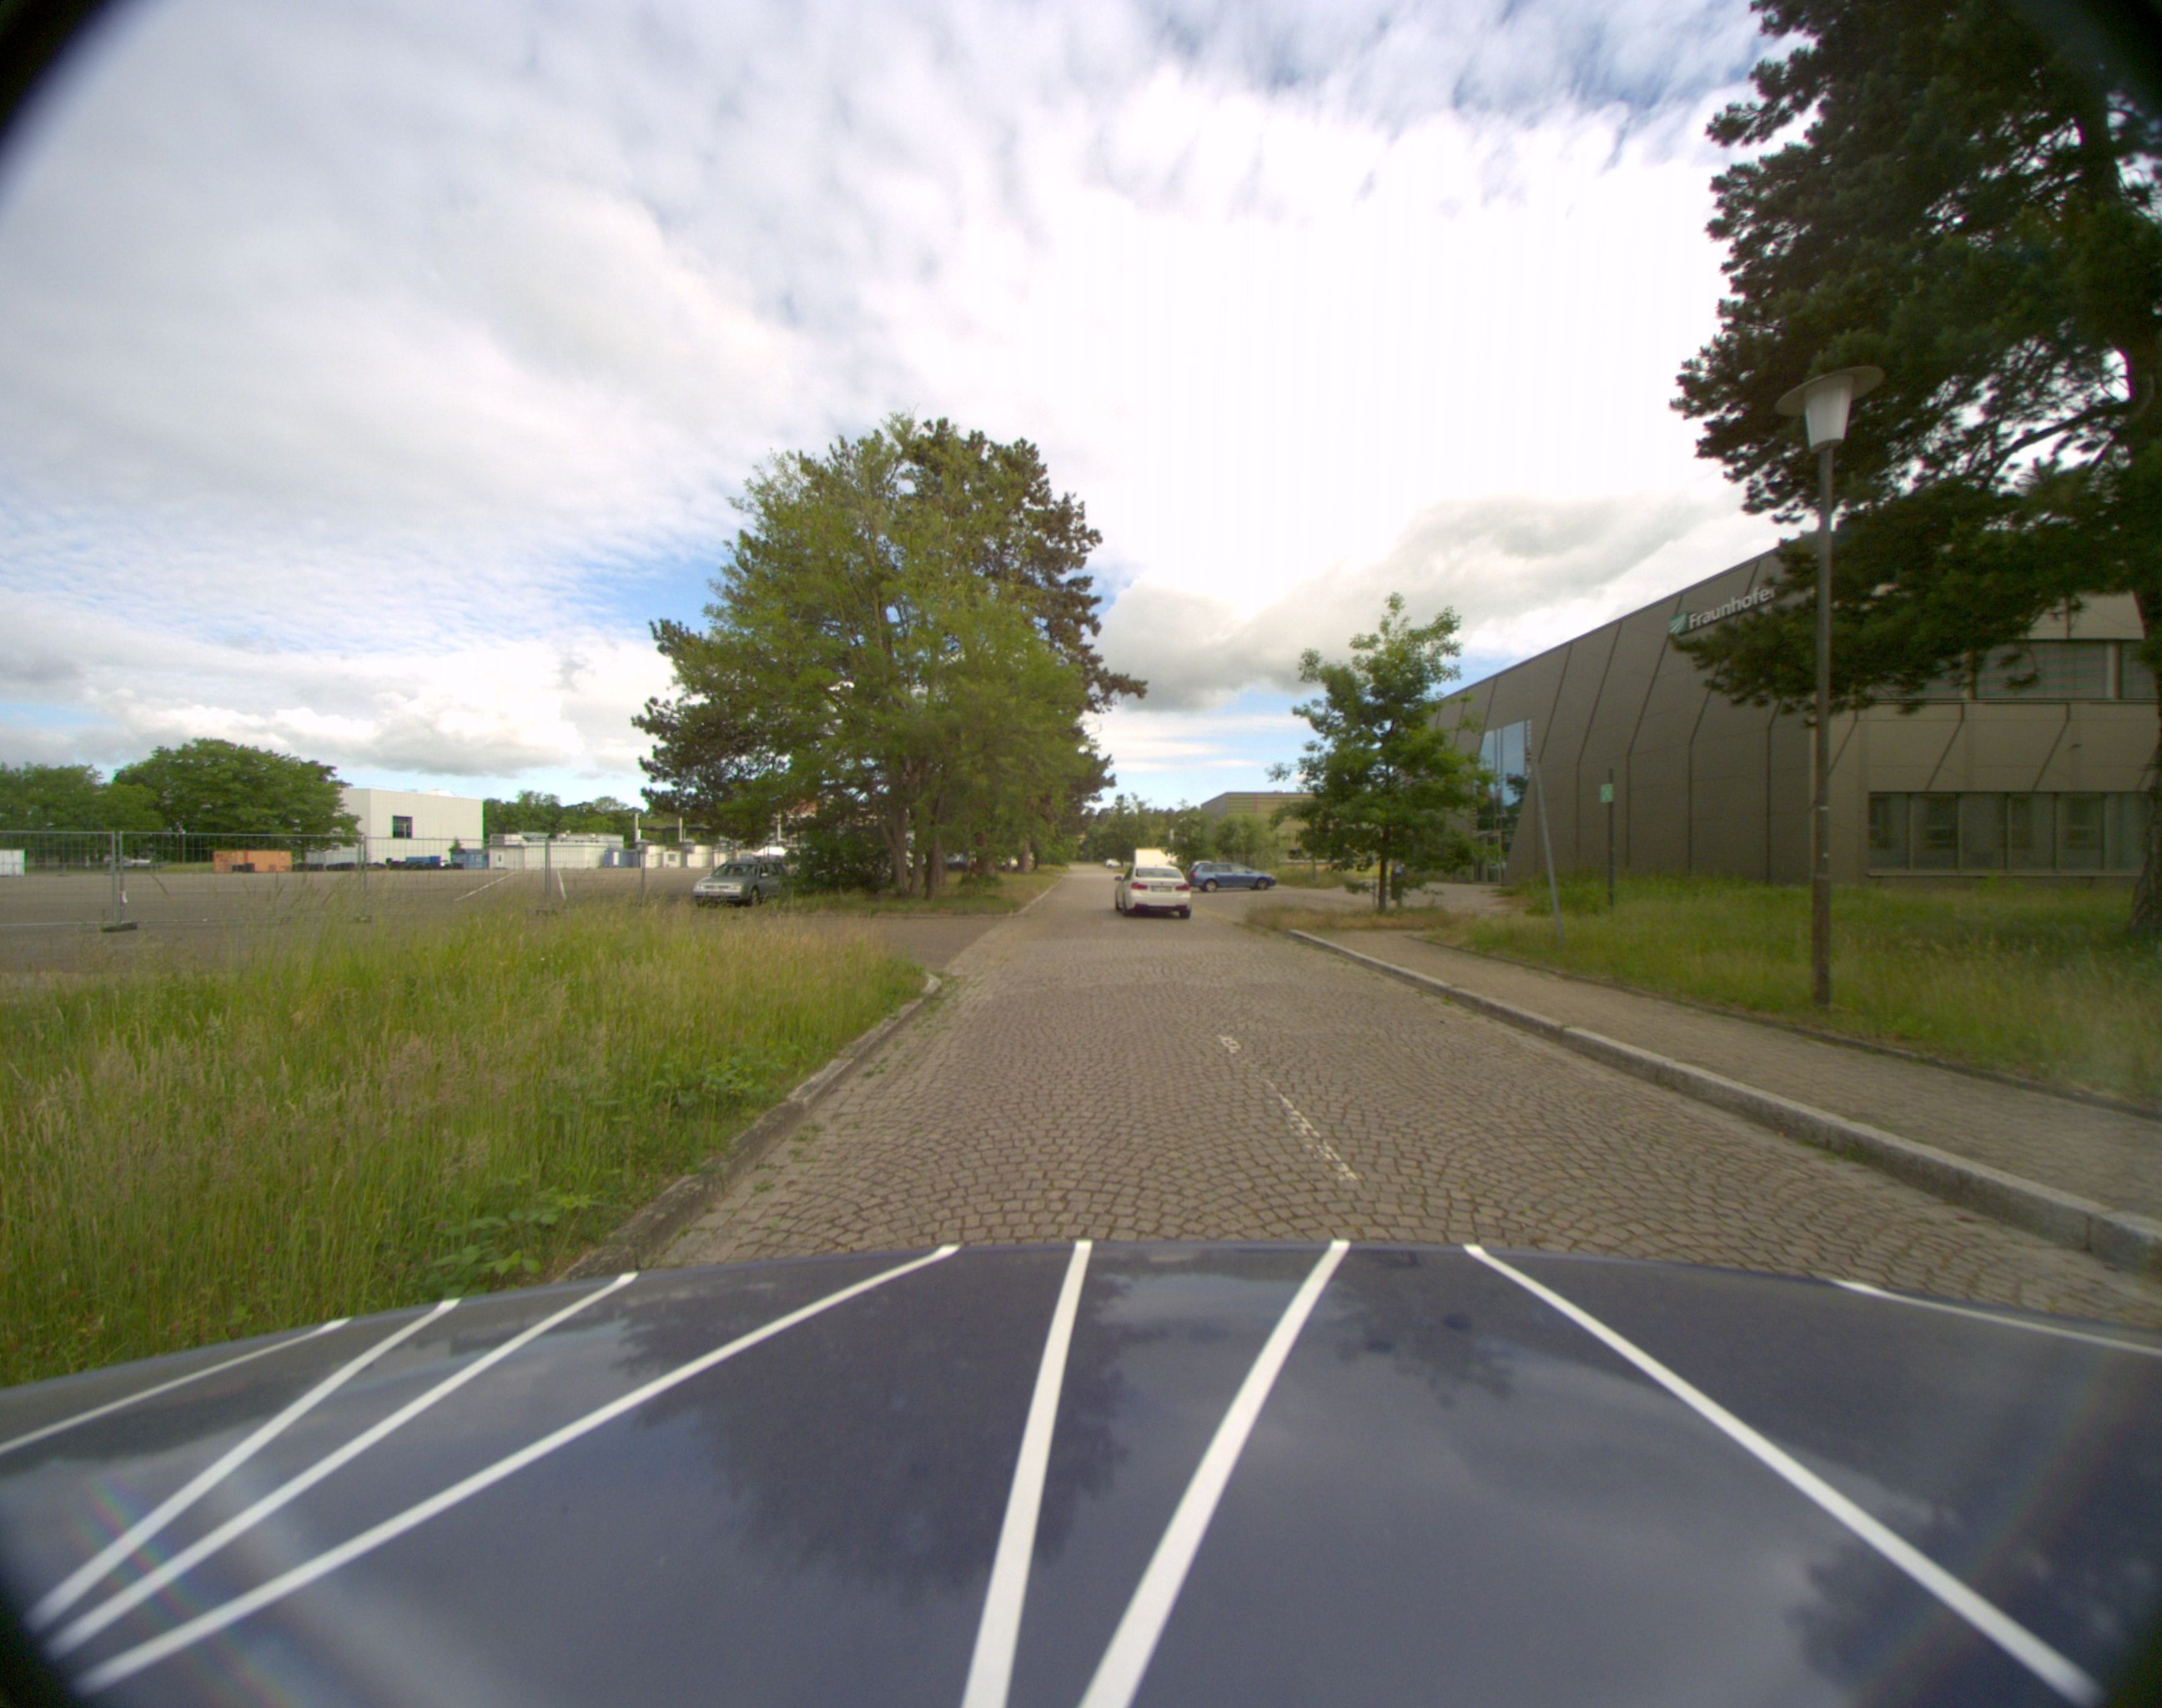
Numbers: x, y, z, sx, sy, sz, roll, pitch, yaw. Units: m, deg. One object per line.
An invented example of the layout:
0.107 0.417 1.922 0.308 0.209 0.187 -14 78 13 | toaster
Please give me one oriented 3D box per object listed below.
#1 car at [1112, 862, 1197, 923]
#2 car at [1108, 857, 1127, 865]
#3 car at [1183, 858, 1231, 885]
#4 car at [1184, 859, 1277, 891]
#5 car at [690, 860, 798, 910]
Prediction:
1.978 1.012 21.606 1.778 1.429 4.217 3 0 -3 | car
7.633 1.446 159.062 4.062 1.767 1.792 -1 0 0 | car
7.717 1.050 46.620 2.584 1.521 1.500 -2 1 -2 | car
7.664 1.082 39.251 4.427 1.461 1.633 -2 0 -2 | car
-10.880 0.938 24.879 1.678 1.442 4.488 0 0 -2 | car
